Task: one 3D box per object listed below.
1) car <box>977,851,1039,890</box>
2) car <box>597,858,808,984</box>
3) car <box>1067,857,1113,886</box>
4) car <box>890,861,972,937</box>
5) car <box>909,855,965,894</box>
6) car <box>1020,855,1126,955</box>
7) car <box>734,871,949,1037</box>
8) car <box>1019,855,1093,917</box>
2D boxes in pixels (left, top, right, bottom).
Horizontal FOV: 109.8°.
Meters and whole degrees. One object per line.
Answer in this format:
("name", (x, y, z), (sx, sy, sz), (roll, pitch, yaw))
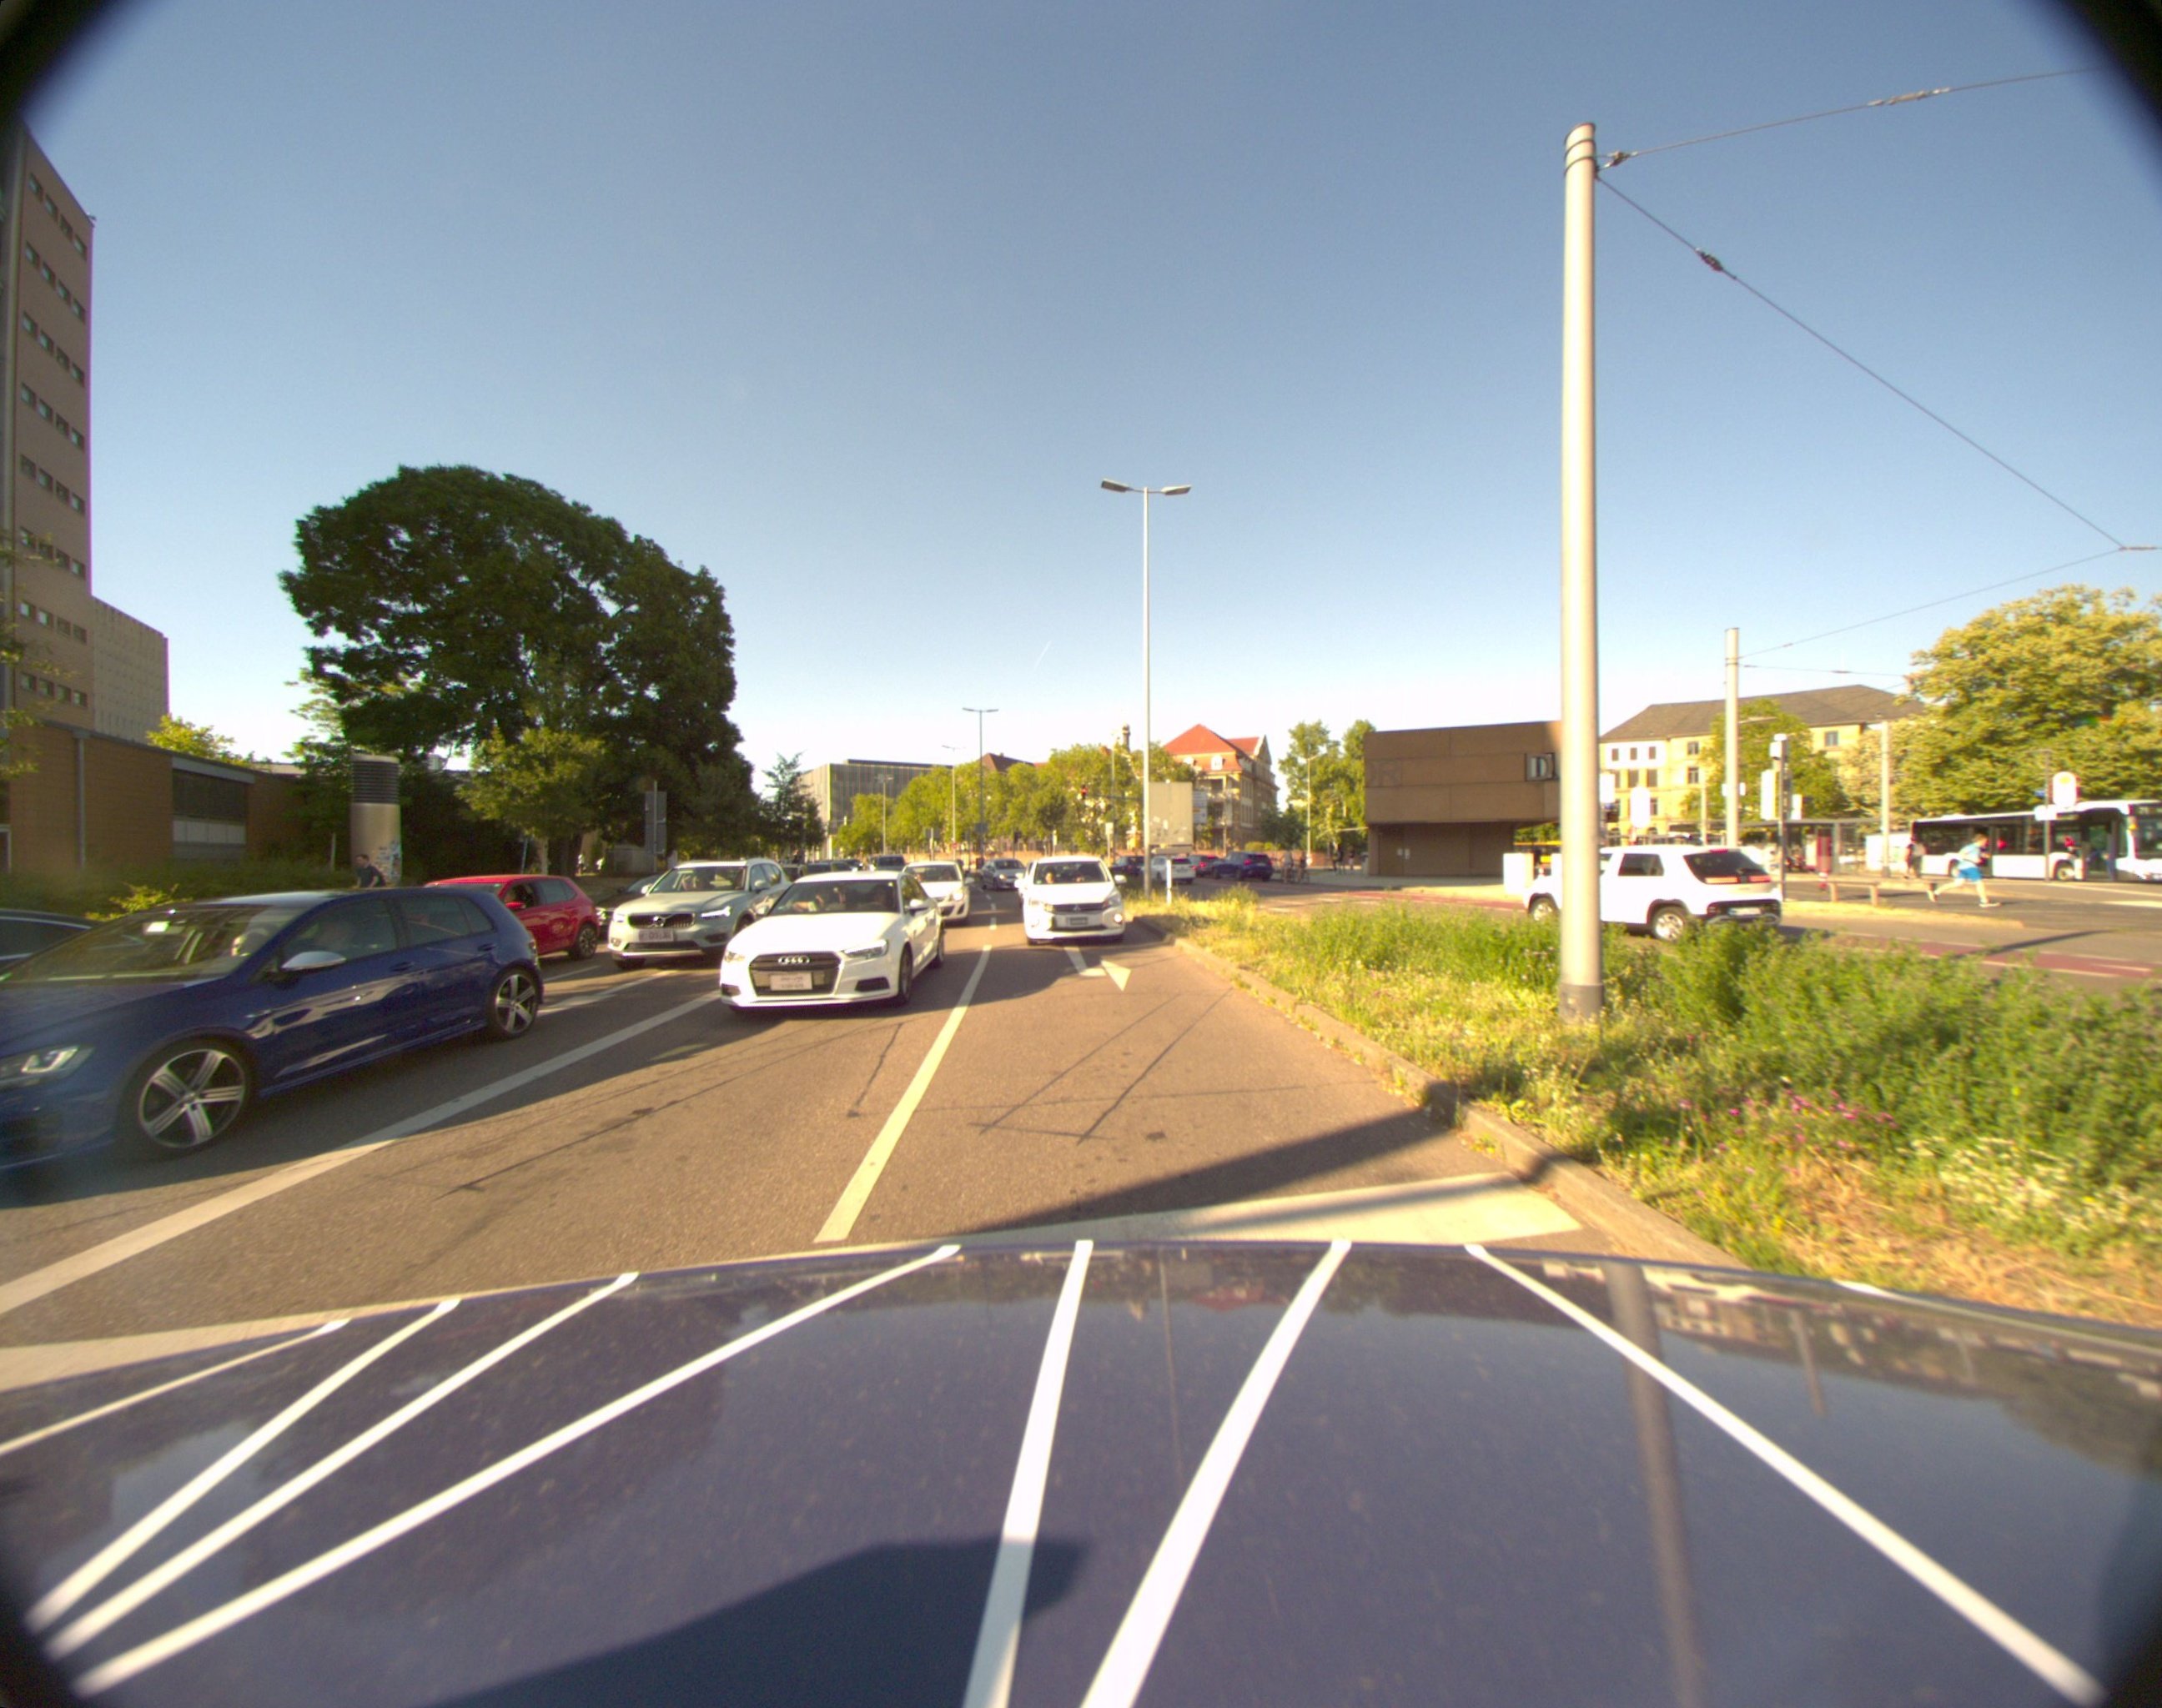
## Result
("car", (-3.377, 0.701, 34.615), (1.748, 1.696, 3.992), (0, 0, -22))
("car", (-6.042, 0.950, 12.740), (1.628, 1.611, 4.221), (-2, 1, -5))
("car", (0.459, 0.972, 44.344), (1.757, 1.451, 4.184), (-2, 1, -12))
("car", (-3.426, 0.957, 17.936), (1.629, 1.451, 4.038), (-2, 1, -8))
("car", (-6.198, 0.833, 32.409), (1.748, 1.536, 3.993), (0, 0, -20))
("car", (-0.283, 0.797, 13.963), (1.628, 1.451, 4.039), (-2, 1, -5))
("car", (-2.633, 1.004, 9.261), (1.628, 1.396, 3.831), (-2, 1, -5))
("car", (-0.797, 0.802, 21.205), (1.756, 1.451, 4.186), (-2, 1, -5))
